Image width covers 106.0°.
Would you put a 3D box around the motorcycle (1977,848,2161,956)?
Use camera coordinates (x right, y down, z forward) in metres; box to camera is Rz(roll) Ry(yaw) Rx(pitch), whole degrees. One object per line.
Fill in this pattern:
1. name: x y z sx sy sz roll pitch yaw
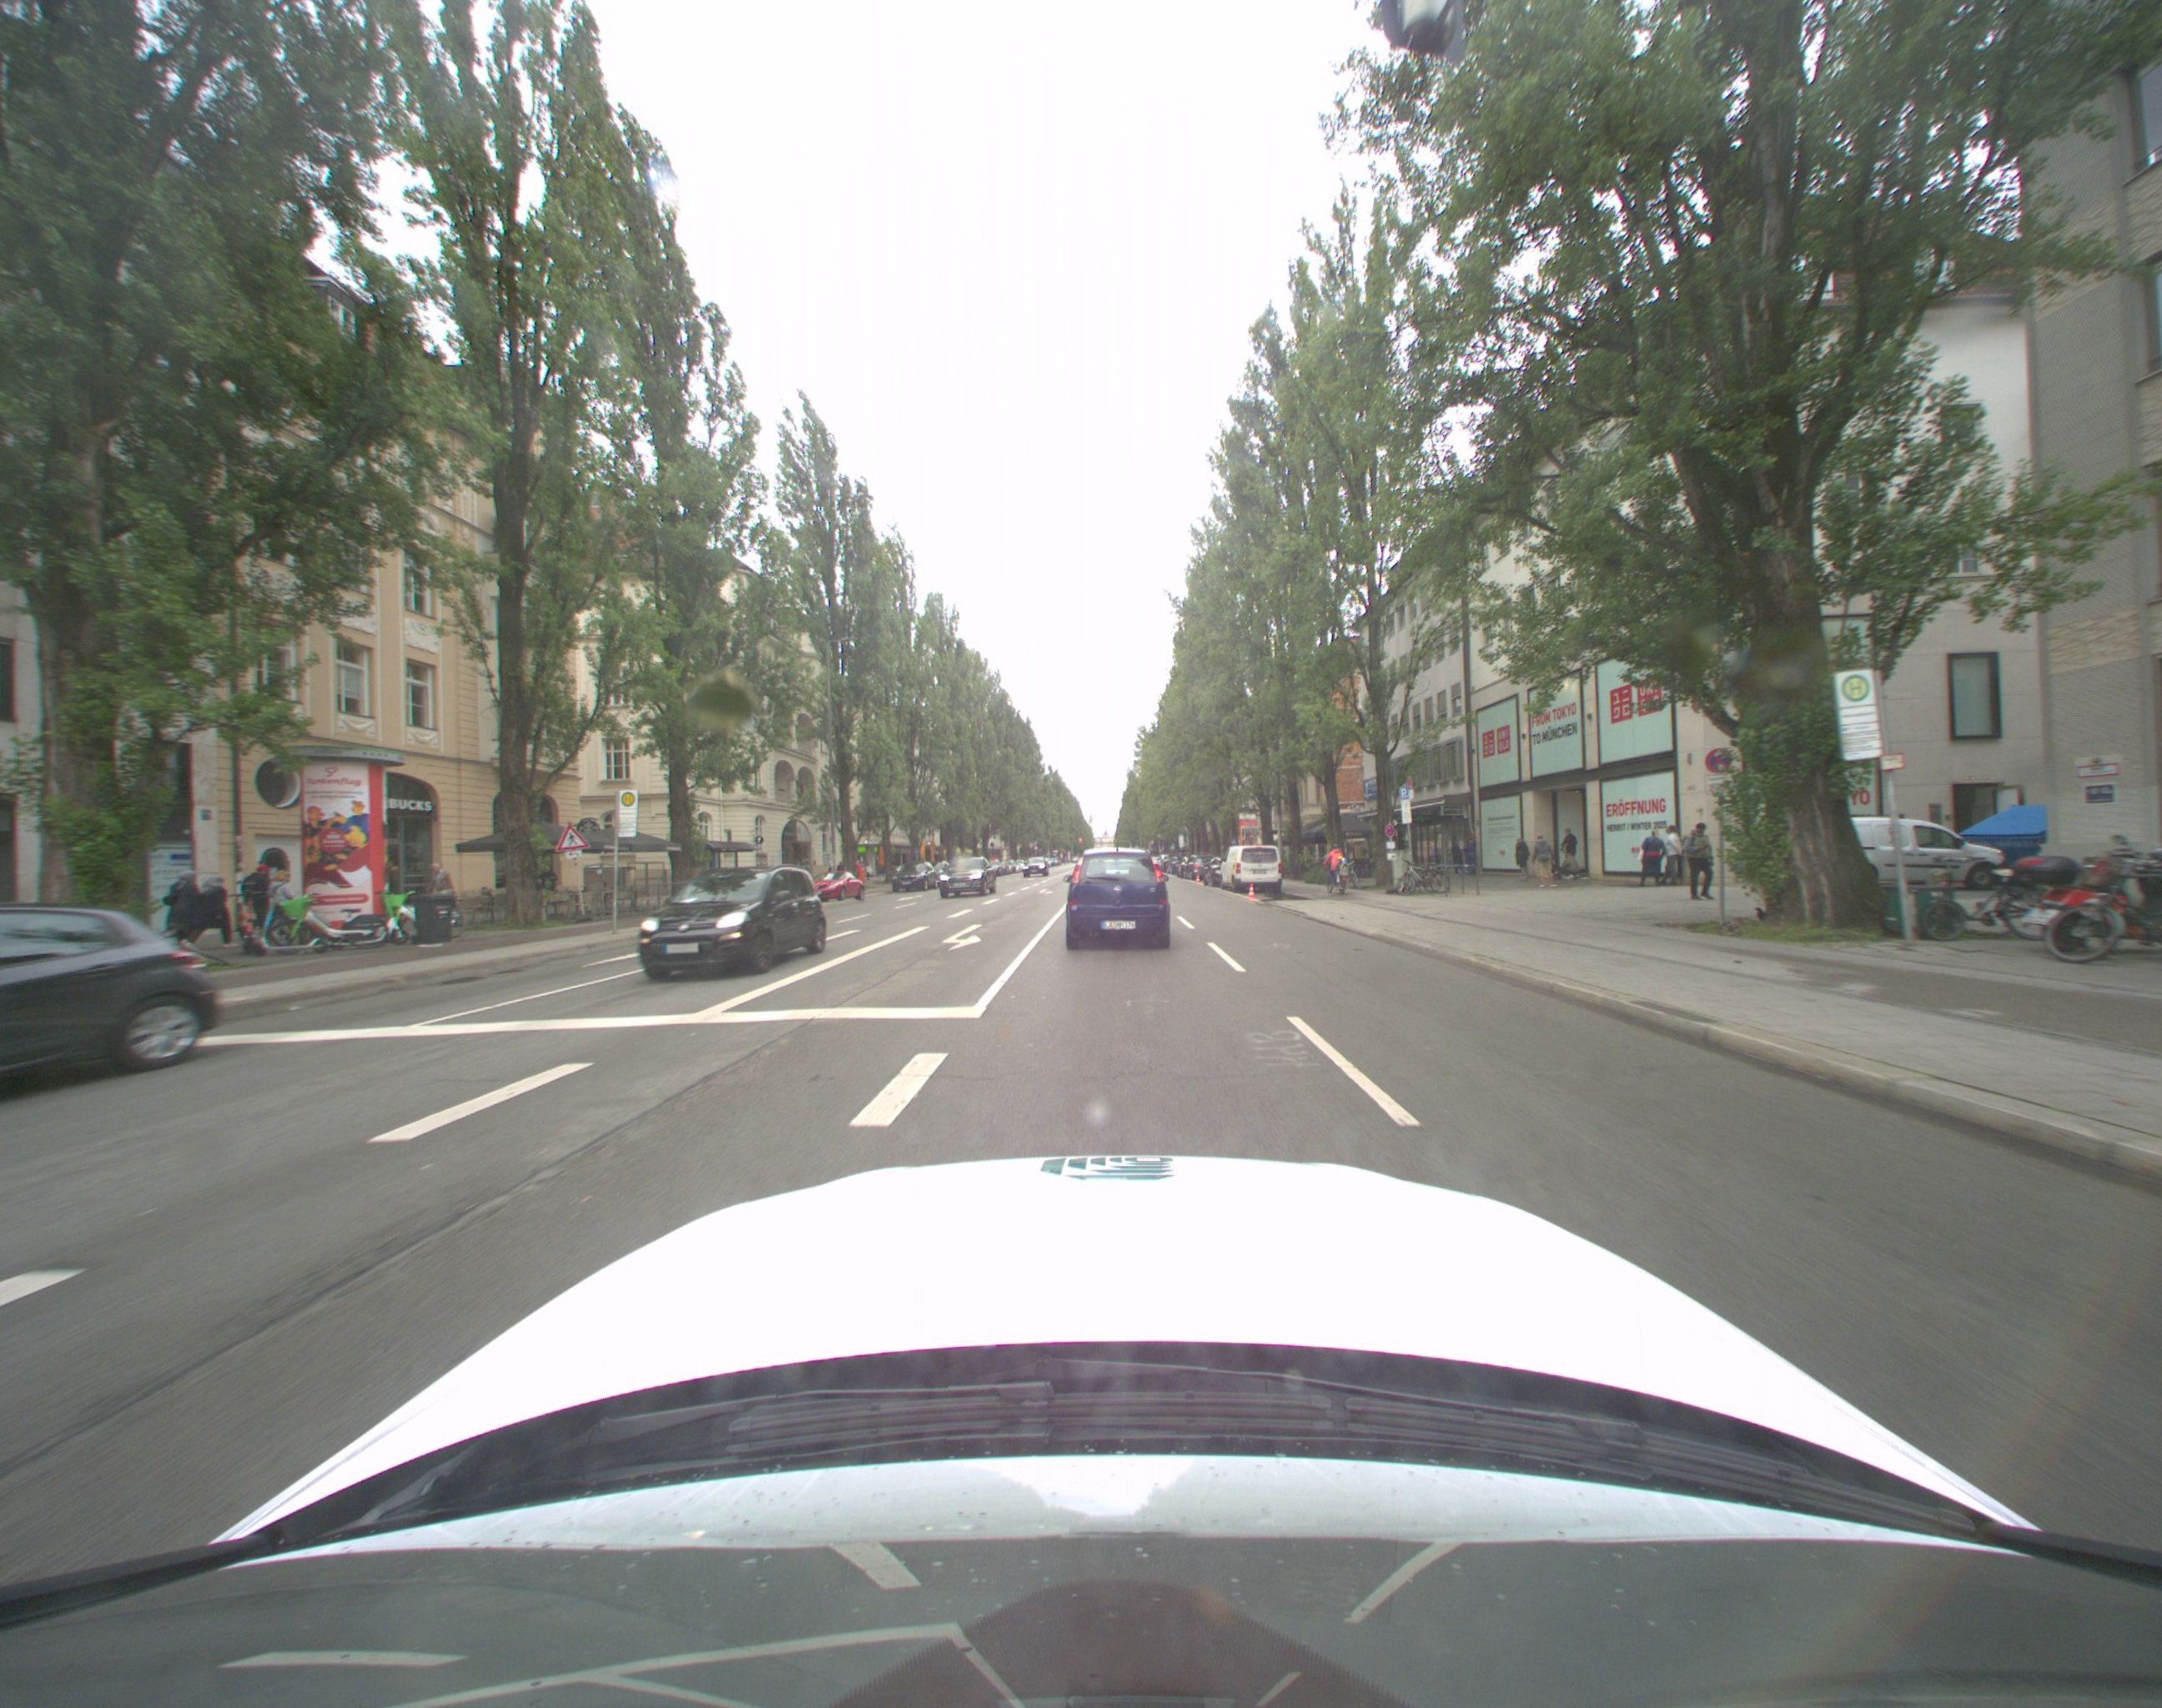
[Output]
1. motorcycle: 11.321 0.530 9.214 1.717 1.140 0.510 -2 0 2

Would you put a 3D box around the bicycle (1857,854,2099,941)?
1. bicycle: 11.596 0.542 10.587 2.140 1.017 0.874 -2 0 1

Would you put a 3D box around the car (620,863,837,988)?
1. car: -5.090 0.943 12.331 1.556 1.496 3.695 -3 0 1

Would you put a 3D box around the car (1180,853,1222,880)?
1. car: 7.322 0.765 50.108 1.812 1.506 4.230 -2 0 -2

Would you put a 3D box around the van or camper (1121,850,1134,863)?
1. van or camper: 9.674 0.526 170.282 2.467 2.581 5.847 -2 0 2

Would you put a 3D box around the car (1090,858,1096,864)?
1. car: 3.563 2.099 245.338 1.828 1.677 3.779 -2 0 1

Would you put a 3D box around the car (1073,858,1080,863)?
1. car: -1.287 1.998 253.274 1.955 1.549 3.779 -2 0 1

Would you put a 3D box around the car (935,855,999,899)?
1. car: -4.802 0.922 34.946 1.906 1.681 4.587 -2 0 1

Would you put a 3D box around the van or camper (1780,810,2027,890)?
1. van or camper: 20.387 -0.075 20.362 4.084 1.867 1.901 0 -1 5

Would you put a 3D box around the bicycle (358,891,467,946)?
1. bicycle: -14.798 1.405 18.082 0.502 1.088 1.820 -1 -1 25

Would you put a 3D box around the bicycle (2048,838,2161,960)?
1. bicycle: 11.426 0.454 8.631 1.717 1.239 0.450 -2 0 2

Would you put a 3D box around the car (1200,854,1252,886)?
1. car: 6.913 0.747 39.223 1.714 1.442 4.353 0 0 0

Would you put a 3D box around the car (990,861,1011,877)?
1. car: -8.316 1.528 84.115 1.692 1.550 4.082 -2 0 1

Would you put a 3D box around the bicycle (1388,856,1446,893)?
1. bicycle: 10.973 0.667 26.610 1.737 1.110 0.447 -3 0 -9

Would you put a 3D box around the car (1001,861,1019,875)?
1. car: -7.913 1.583 90.726 1.626 1.428 2.983 -2 0 0

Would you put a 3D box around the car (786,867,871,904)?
1. car: -10.246 1.243 33.394 1.870 1.298 4.099 -2 0 4

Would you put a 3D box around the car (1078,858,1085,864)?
1. car: 0.210 2.175 247.184 1.828 1.739 3.779 -2 0 1

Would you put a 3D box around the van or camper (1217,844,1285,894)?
1. van or camper: 6.948 0.579 33.769 1.861 1.883 4.904 -1 0 1

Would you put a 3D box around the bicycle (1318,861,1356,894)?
1. bicycle: 8.976 0.815 28.605 0.624 1.087 2.264 -2 0 1

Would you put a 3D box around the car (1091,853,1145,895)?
1. car: 1.419 0.762 32.495 1.987 1.497 4.000 -2 0 1

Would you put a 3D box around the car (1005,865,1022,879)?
1. car: -8.018 2.106 96.814 1.566 1.534 2.925 -2 0 4

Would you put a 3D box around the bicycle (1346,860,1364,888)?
1. bicycle: 10.718 0.787 31.859 0.362 1.038 1.735 -2 0 10

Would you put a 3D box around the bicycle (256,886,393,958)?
1. bicycle: -15.018 1.317 16.238 1.965 1.289 0.502 0 -1 -41

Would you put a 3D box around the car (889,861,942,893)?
1. car: -9.380 1.269 46.505 1.813 1.618 4.719 -2 1 2

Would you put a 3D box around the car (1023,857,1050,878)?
1. car: -3.711 1.124 68.763 1.928 1.623 4.338 -2 0 1

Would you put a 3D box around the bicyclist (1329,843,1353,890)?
1. bicyclist: 8.946 0.435 28.007 0.619 1.588 0.481 -2 -1 1

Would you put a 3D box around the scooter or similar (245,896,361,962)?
1. scooter or similar: -14.908 1.412 15.650 1.570 1.114 0.384 -2 0 -39

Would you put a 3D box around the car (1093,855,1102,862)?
1. car: 3.929 1.064 193.077 1.955 1.399 3.779 -2 0 1

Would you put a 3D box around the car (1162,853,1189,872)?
1. car: 7.555 0.693 65.699 1.743 1.405 4.466 -2 0 2

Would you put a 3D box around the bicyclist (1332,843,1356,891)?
1. bicyclist: 8.939 0.432 27.674 0.619 1.588 0.391 -2 -1 1

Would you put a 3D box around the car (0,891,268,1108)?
1. car: -8.398 1.098 5.524 1.636 1.439 3.998 -3 0 1

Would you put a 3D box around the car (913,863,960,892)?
1. car: -9.059 1.449 51.361 1.795 1.594 4.635 -3 0 4

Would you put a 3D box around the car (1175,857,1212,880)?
1. car: 7.545 0.937 55.056 1.872 1.432 4.804 -2 0 1

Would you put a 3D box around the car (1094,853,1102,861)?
1. car: 4.124 0.781 198.797 1.828 1.761 3.779 -2 0 1

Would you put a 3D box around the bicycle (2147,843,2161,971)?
1. bicycle: 11.756 0.489 7.745 2.335 1.252 0.633 -2 0 1

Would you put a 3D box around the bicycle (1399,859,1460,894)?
1. bicycle: 11.075 0.707 25.893 1.757 1.044 0.482 -2 0 -9

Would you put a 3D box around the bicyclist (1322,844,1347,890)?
1. bicyclist: 8.957 0.443 28.763 0.619 1.588 0.753 -2 -1 1

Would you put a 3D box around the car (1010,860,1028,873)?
1. car: -7.682 1.498 100.861 1.829 1.546 4.085 -2 0 0
